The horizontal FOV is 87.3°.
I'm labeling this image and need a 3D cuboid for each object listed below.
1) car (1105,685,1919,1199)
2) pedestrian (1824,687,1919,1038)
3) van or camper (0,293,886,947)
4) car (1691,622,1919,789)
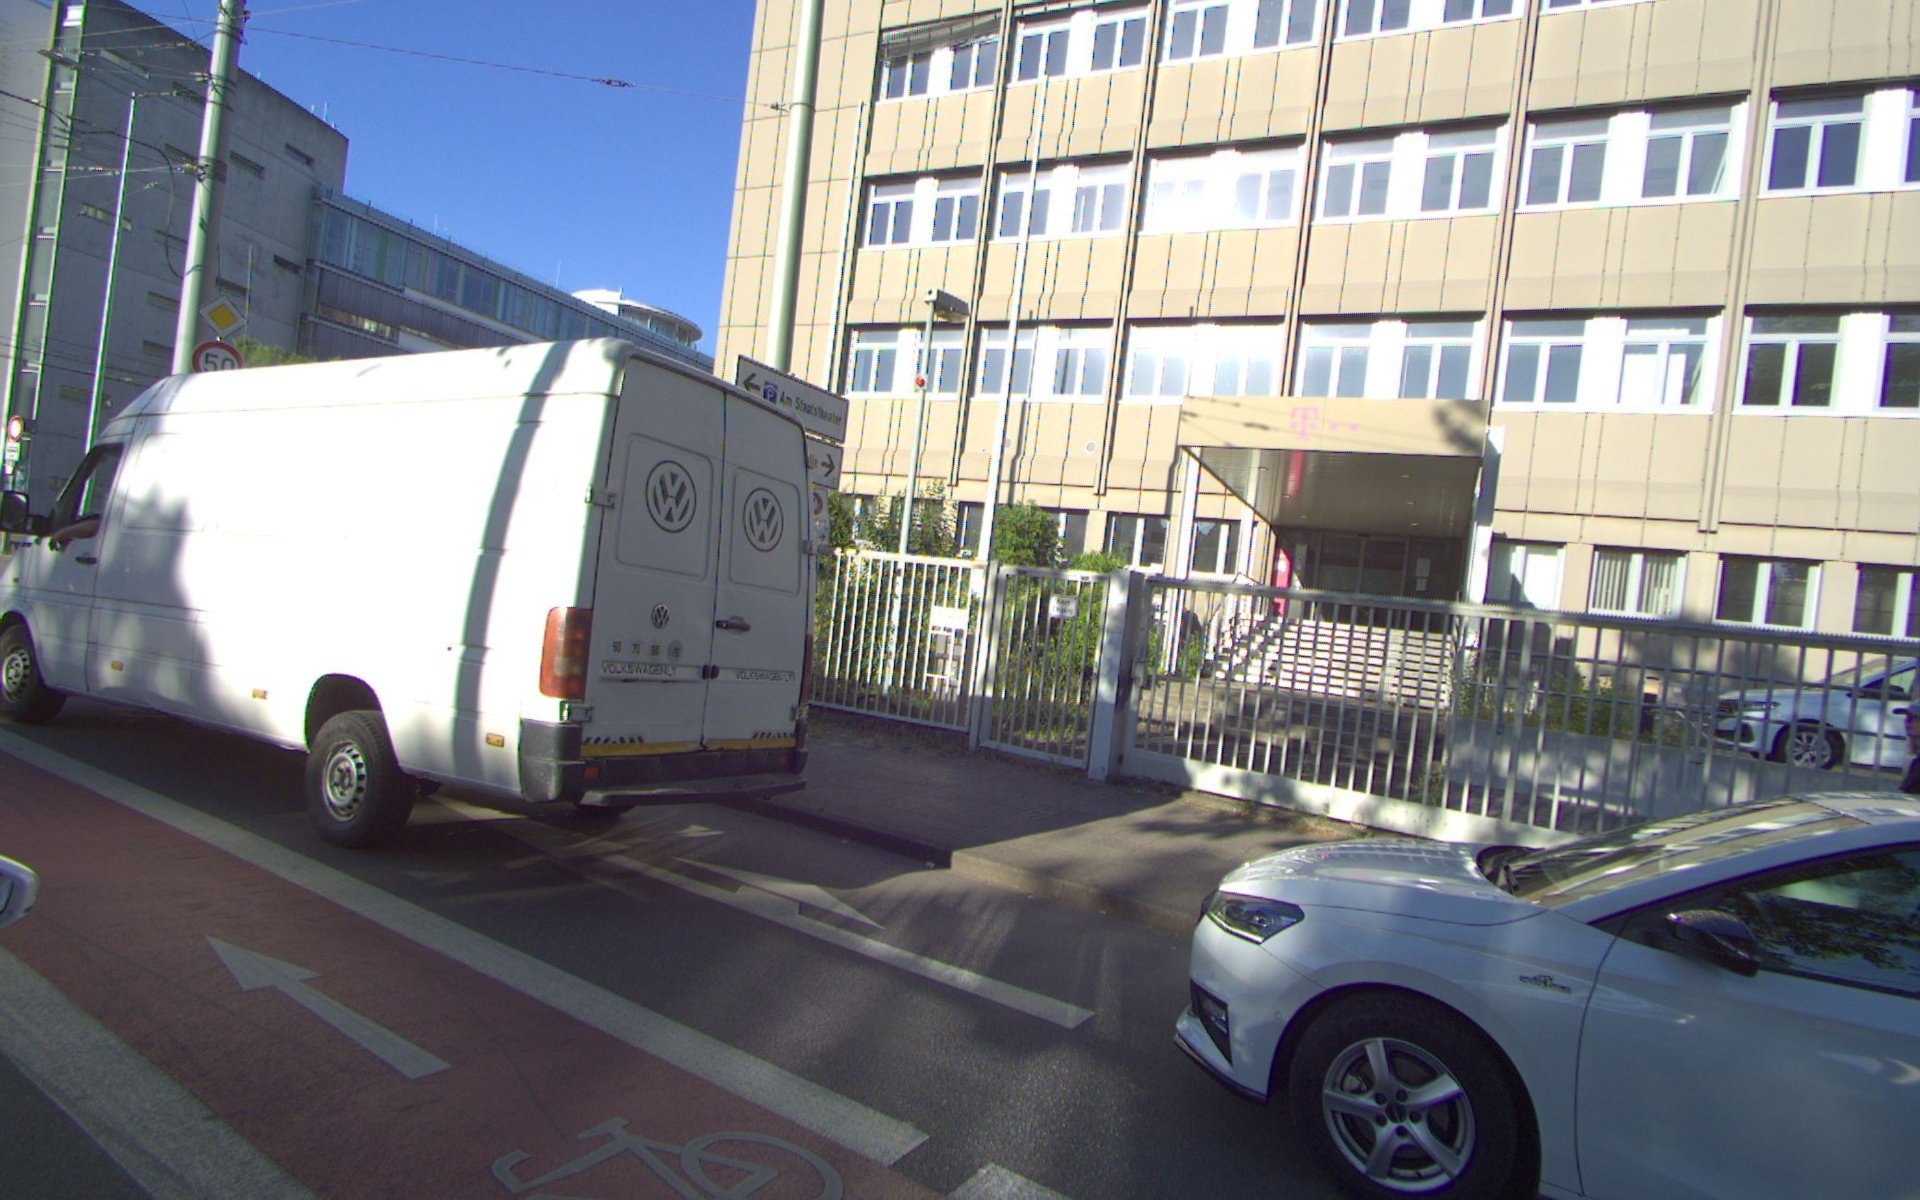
[{"bbox_3d":[2.692,1.256,3.016,4.006,1.405,1.705,7,-1,30],"label":"car"},{"bbox_3d":[5.299,1.409,5.387,0.757,1.784,0.591,7,1,32],"label":"pedestrian"},{"bbox_3d":[-3.762,-0.150,6.559,6.196,2.748,1.973,7,-1,29],"label":"van or camper"},{"bbox_3d":[12.816,1.527,13.252,4.701,1.865,1.998,7,0,27],"label":"car"}]
